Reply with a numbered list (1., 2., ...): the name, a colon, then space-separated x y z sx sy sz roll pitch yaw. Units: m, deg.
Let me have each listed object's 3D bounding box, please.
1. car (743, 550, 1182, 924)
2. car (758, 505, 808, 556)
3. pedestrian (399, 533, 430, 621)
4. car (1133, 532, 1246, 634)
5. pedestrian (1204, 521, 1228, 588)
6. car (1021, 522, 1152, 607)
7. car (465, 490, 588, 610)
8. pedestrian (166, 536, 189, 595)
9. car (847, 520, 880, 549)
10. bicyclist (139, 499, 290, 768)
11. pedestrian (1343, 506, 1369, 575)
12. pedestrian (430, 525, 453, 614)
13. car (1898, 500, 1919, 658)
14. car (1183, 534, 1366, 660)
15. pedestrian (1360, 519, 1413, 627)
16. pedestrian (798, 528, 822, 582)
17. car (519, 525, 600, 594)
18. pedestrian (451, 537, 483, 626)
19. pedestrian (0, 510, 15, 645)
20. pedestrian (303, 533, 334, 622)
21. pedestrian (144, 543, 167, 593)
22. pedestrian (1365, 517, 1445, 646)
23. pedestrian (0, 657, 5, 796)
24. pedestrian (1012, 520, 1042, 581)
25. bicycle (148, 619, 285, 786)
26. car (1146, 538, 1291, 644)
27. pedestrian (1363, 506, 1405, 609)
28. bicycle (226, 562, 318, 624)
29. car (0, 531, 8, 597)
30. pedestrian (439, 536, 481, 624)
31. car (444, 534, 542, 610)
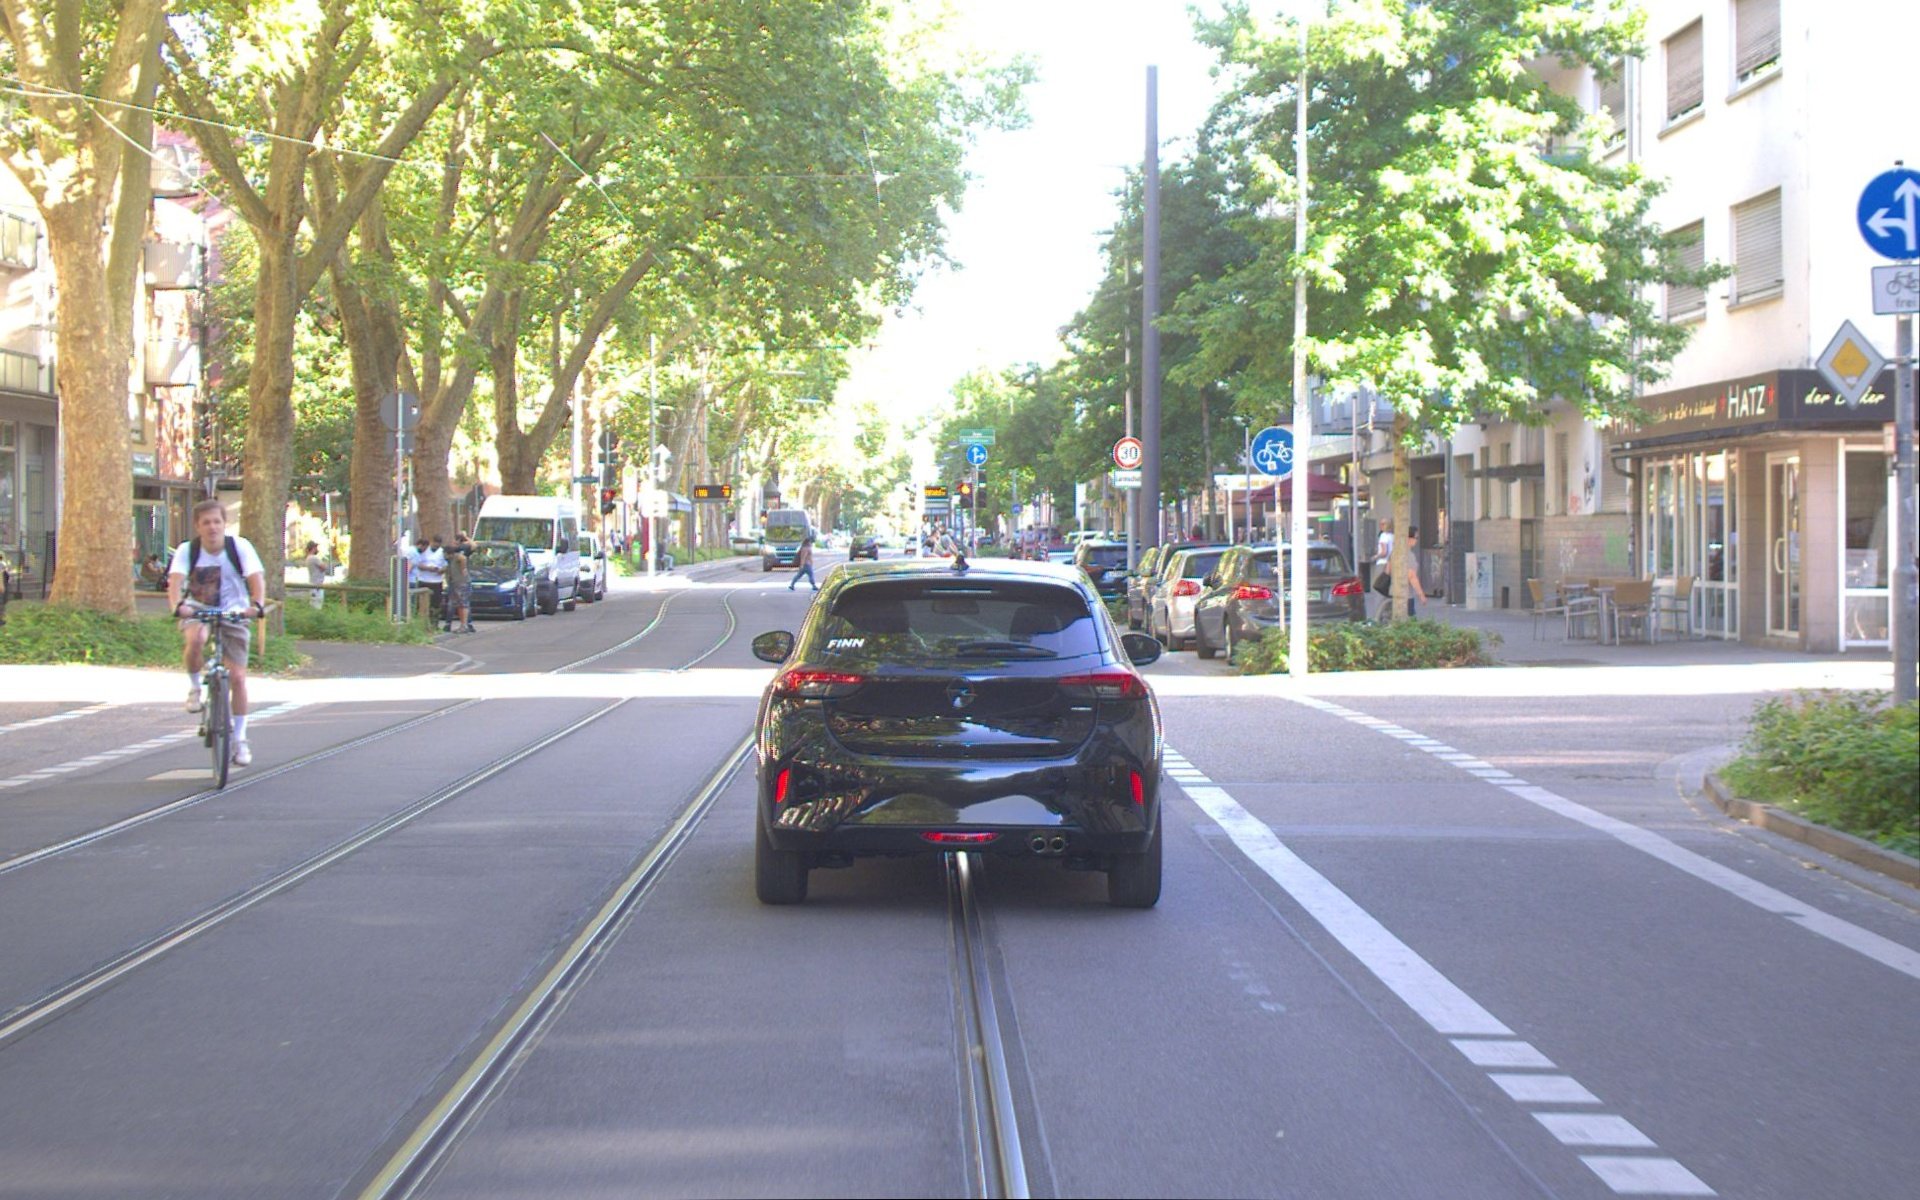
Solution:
1. car: -0.024 0.509 15.215 1.679 1.417 3.628 1 1 -1
2. car: -7.820 -3.050 151.492 1.993 2.204 5.103 0 1 -5
3. pedestrian: -9.757 -0.415 61.483 0.506 1.577 0.527 0 1 -4
4. car: 3.636 -0.297 54.903 1.651 1.568 3.083 0 1 1
5. pedestrian: 6.676 -1.191 89.612 0.629 1.727 0.632 0 1 4
6. car: 2.473 -0.725 68.164 1.993 1.634 4.001 0 1 -7
7. car: -9.714 -1.155 77.439 2.092 2.575 5.997 0 1 -1
8. pedestrian: -20.959 -0.926 92.094 0.506 1.577 0.527 0 1 -3
9. car: -5.624 -3.819 201.052 1.750 1.646 4.000 0 1 1
10. bicyclist: -4.739 0.199 21.910 0.784 1.672 0.958 0 1 -3
11. pedestrian: 9.860 -1.488 85.682 0.629 1.727 0.632 0 1 6
12. pedestrian: -9.287 -0.546 61.593 0.346 1.577 0.508 0 1 -2
13. car: 13.319 -0.252 39.733 4.358 1.824 2.000 0 1 -4
14. car: 4.092 -0.076 45.256 1.718 1.568 4.085 0 1 -5
15. pedestrian: 6.967 -0.447 56.190 0.793 1.742 0.770 0 1 2
16. pedestrian: -4.384 -1.316 100.480 0.594 1.584 0.893 -1 1 -7
17. car: -10.253 -1.068 88.178 1.993 1.711 4.001 0 1 -6
18. pedestrian: -8.821 -0.335 61.538 0.506 1.577 0.527 0 1 -1
19. pedestrian: -13.631 -0.308 47.671 0.905 1.862 0.644 0 1 -6
20. pedestrian: -11.530 -0.407 61.766 0.506 1.577 0.527 0 1 -13
21. pedestrian: -21.649 -0.858 92.514 0.506 1.328 0.527 0 1 -3
22. pedestrian: 5.611 -0.238 43.325 0.856 1.611 0.769 0 1 20
23. pedestrian: -6.213 0.311 20.895 0.711 1.729 0.913 -2 2 -15
24. pedestrian: 2.271 -1.666 116.815 0.856 2.007 1.069 -5 0 0
25. bicycle: -4.730 0.631 21.954 0.520 0.959 1.929 0 1 -2
26. car: 3.784 -0.163 50.851 1.718 1.485 3.682 0 1 -2
27. pedestrian: 6.830 -0.681 55.365 0.600 1.646 0.631 0 1 1
28. bicycle: -12.292 -0.122 61.405 1.694 1.058 0.452 2 1 29
29. car: -19.628 -0.659 65.926 1.695 1.272 3.828 0 2 -1
30. pedestrian: -9.045 -0.371 62.226 0.683 1.577 0.557 0 1 -2
31. car: -9.650 -0.600 71.272 1.754 1.503 4.001 0 1 -4
